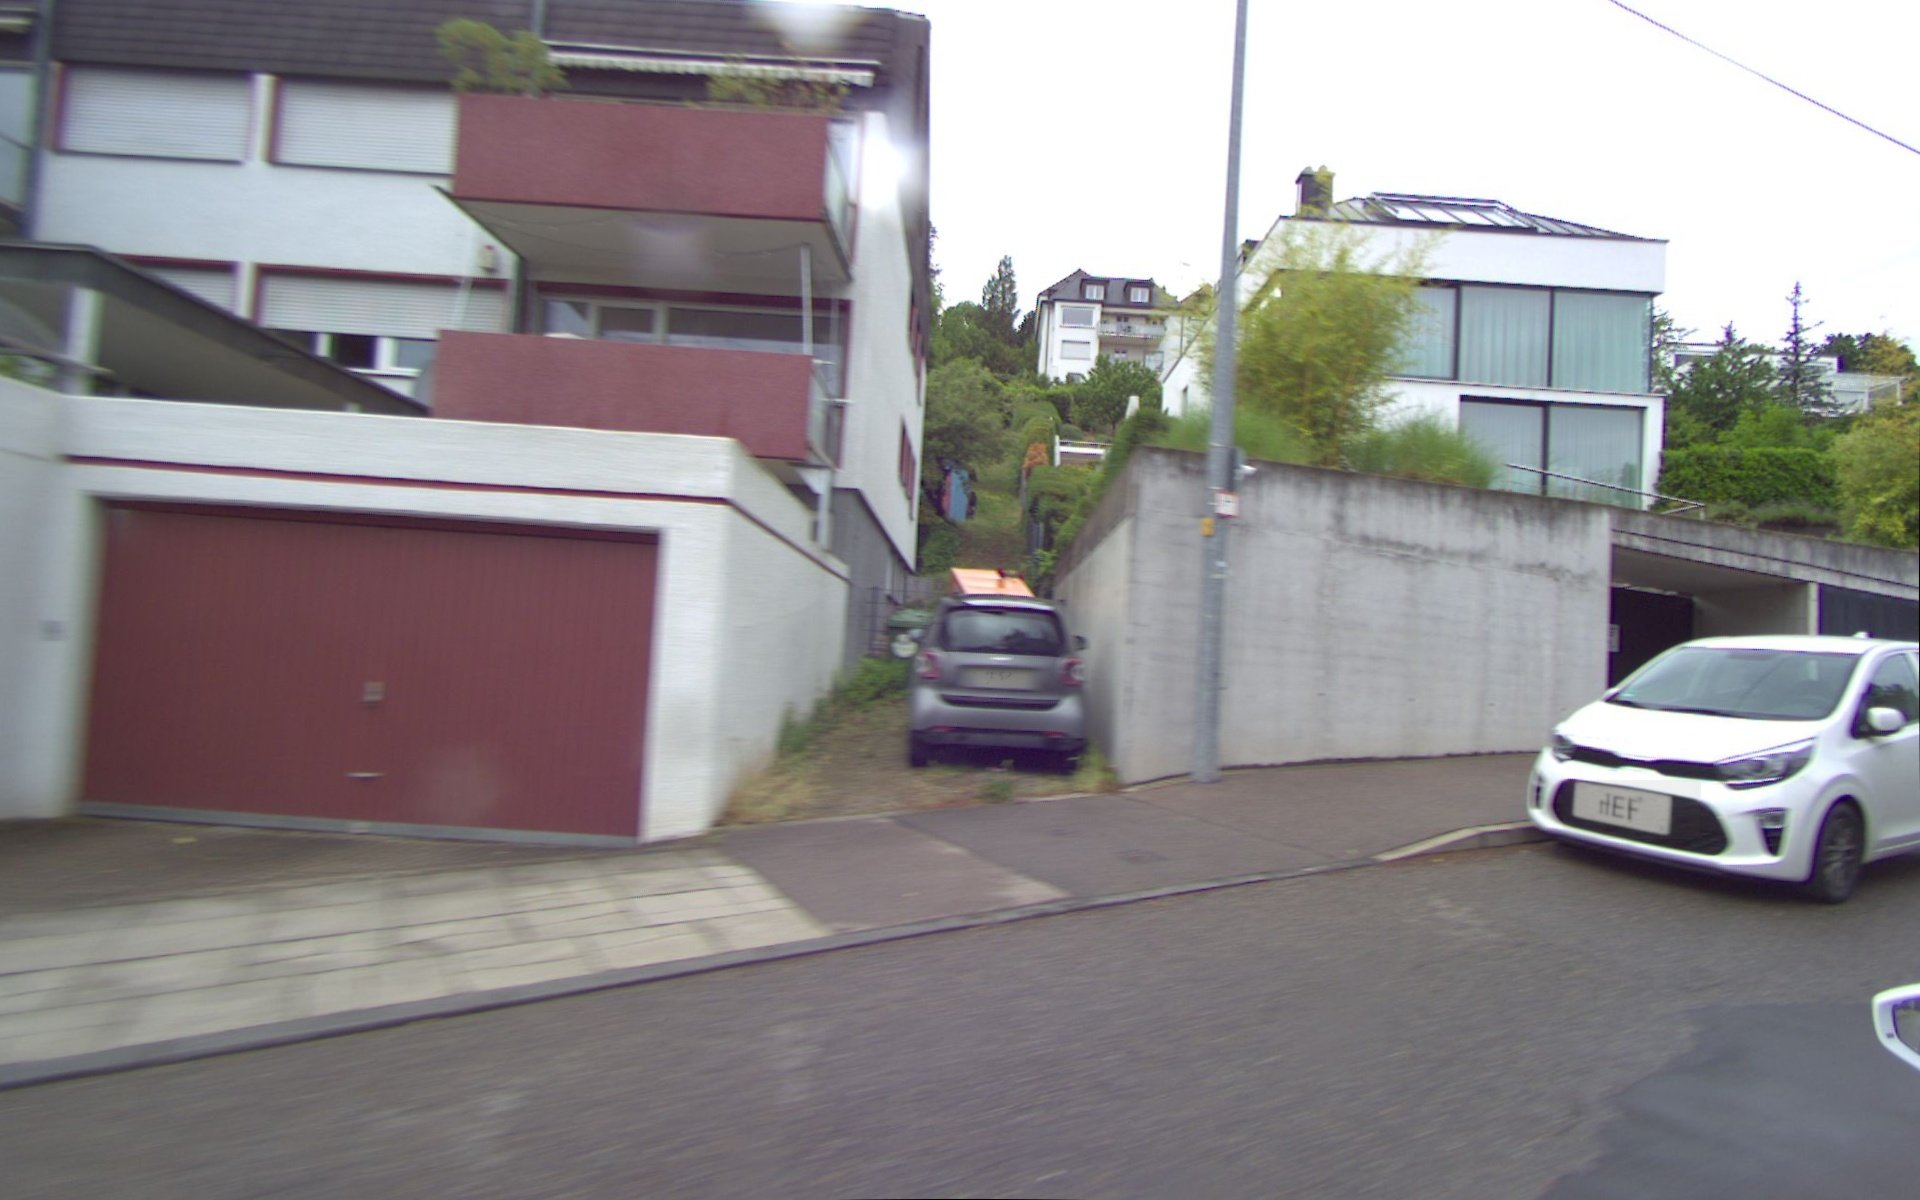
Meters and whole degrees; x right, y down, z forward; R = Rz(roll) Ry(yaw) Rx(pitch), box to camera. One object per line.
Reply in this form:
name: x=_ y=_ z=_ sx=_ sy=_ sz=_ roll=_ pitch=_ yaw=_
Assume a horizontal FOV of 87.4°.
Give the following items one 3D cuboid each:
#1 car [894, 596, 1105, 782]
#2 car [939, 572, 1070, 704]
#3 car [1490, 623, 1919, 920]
car: x=0.364 y=0.746 z=10.449 sx=1.733 sy=1.498 sz=3.931 roll=2 pitch=1 yaw=1
car: x=0.650 y=0.515 z=15.973 sx=1.754 sy=1.768 sz=3.877 roll=2 pitch=1 yaw=1
car: x=5.577 y=0.960 z=6.853 sx=3.783 sy=1.536 sz=1.621 roll=2 pitch=-1 yaw=-27
